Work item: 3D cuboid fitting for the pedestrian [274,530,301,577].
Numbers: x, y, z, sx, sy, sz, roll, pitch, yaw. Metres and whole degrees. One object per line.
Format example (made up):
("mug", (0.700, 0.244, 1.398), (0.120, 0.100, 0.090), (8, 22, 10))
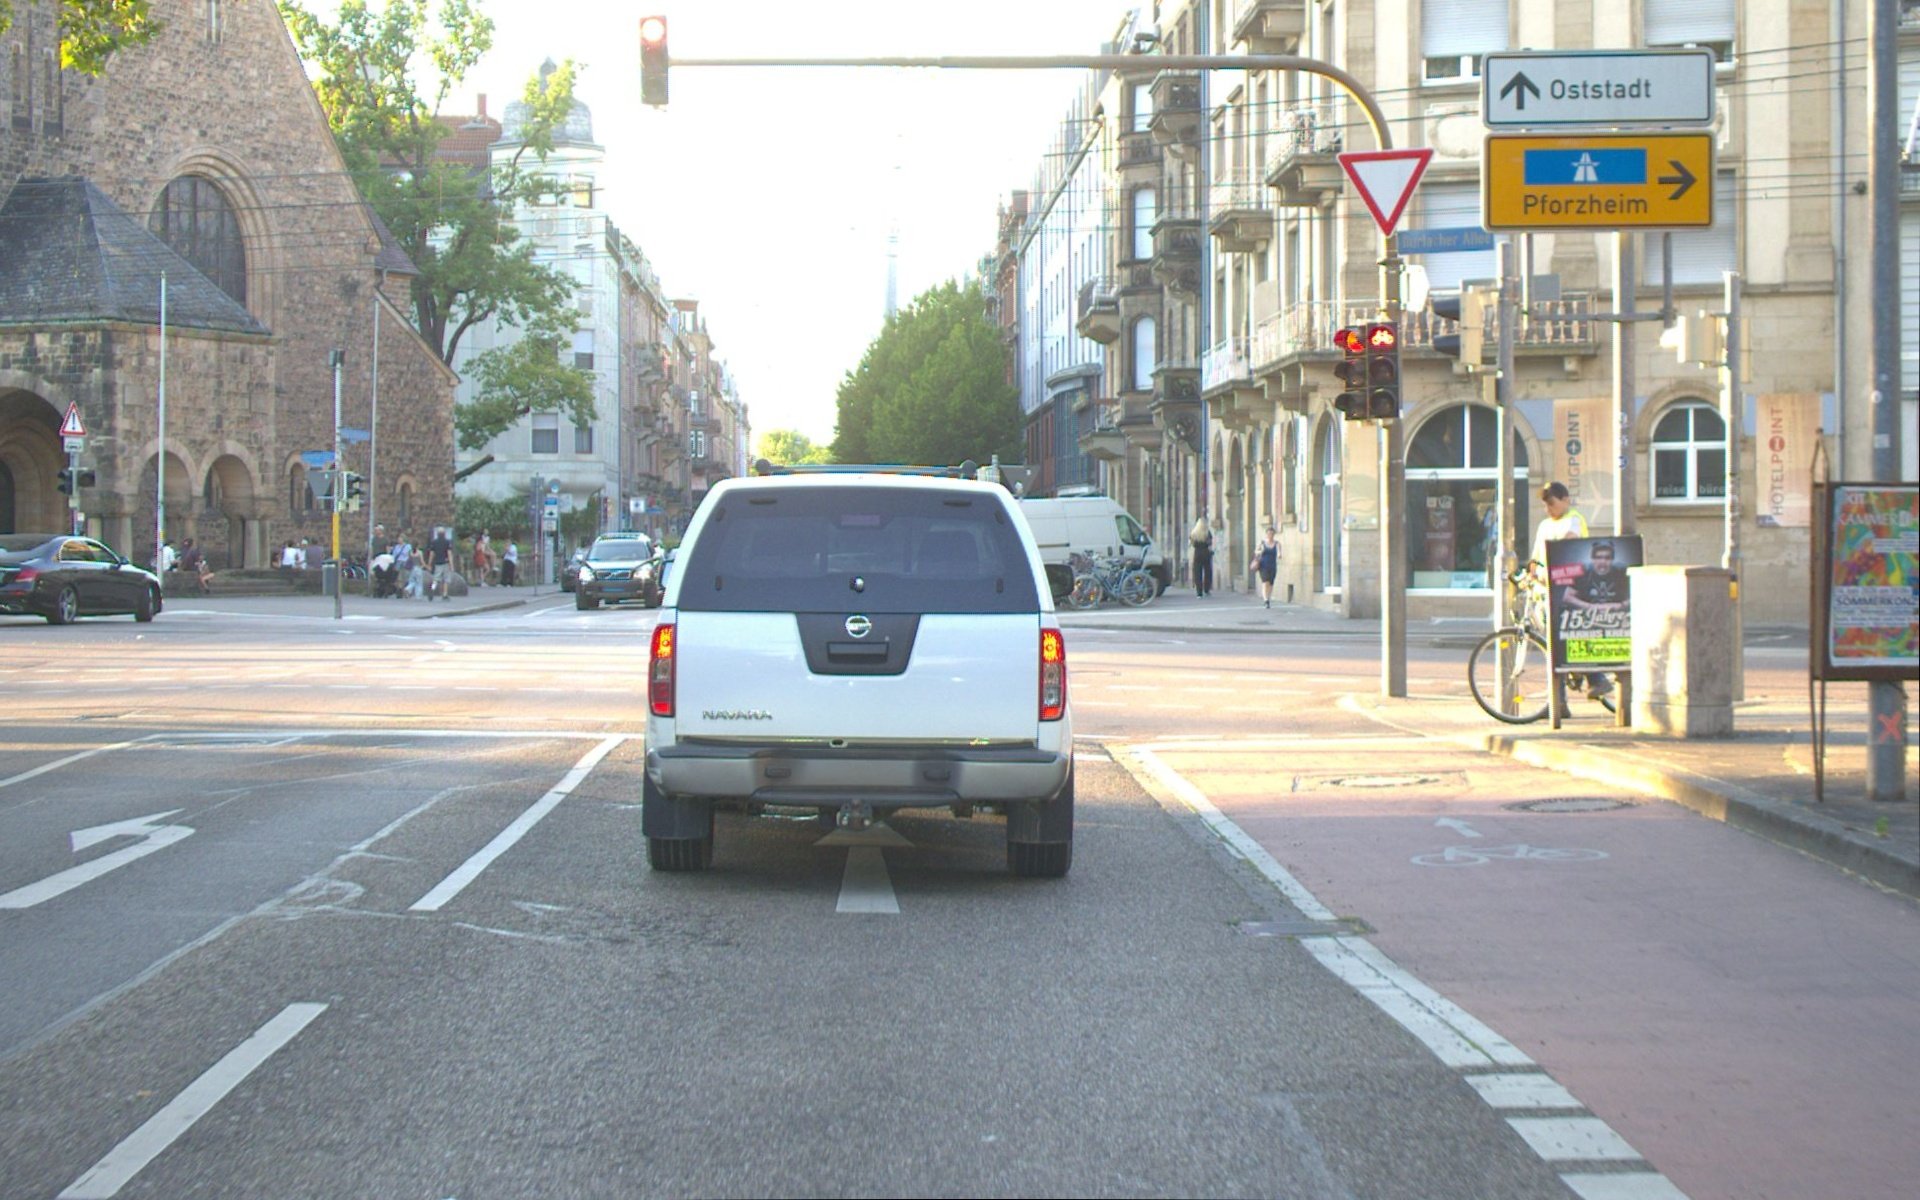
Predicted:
("pedestrian", (-17.775, -1.232, 90.865), (0.478, 1.241, 0.523), (1, 0, 17))

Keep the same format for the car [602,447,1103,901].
("car", (-0.458, 0.282, 15.909), (1.993, 1.803, 4.000), (1, 1, -1))

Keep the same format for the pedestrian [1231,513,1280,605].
("pedestrian", (5.759, -0.792, 66.899), (0.788, 1.773, 0.543), (1, 0, 25))

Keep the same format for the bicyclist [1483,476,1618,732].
("bicyclist", (4.274, 0.024, 24.899), (0.696, 1.818, 0.628), (1, 0, -33))

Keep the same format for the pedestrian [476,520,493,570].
("pedestrian", (-16.046, -1.847, 116.033), (0.560, 1.689, 0.645), (1, 0, -8))

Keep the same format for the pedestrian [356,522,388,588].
("pedestrian", (-15.358, -1.178, 89.855), (0.634, 1.692, 0.602), (1, 3, 13))

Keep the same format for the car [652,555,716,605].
("car", (-9.790, -0.733, 122.278), (1.993, 1.552, 4.769), (3, 2, -2))

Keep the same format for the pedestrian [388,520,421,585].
("pedestrian", (-14.501, -1.231, 89.716), (0.634, 1.692, 0.602), (1, 0, 18))

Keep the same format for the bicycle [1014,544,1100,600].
("bicycle", (2.023, -0.580, 72.067), (1.726, 1.080, 0.317), (-3, 1, -2))

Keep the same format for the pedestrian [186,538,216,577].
("pedestrian", (-18.813, -1.058, 85.236), (0.478, 0.957, 0.522), (1, 0, 29))

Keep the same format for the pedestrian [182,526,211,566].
("pedestrian", (-18.670, -1.319, 84.062), (0.522, 0.957, 0.479), (1, 0, 19))

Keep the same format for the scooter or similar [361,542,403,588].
("scooter or similar", (-14.926, -0.916, 88.758), (0.634, 1.099, 1.078), (1, 5, 17))

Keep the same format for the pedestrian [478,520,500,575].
("pedestrian", (-15.786, -1.752, 115.195), (0.642, 1.849, 0.562), (1, 0, -15))

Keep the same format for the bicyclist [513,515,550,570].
("bicyclist", (-12.905, -1.732, 103.473), (0.962, 1.639, 0.599), (1, 1, 41))

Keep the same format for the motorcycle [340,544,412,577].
("motorcycle", (-17.900, -1.219, 105.382), (2.167, 0.984, 0.593), (1, 0, 19))

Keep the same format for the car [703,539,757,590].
("car", (-9.316, -1.452, 139.691), (1.993, 2.007, 4.951), (-1, 1, -2))

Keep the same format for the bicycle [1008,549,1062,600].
("bicycle", (1.589, -0.551, 72.951), (1.076, 1.021, 0.317), (-3, 1, -2))

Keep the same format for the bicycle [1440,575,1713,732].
("bicycle", (4.501, 0.382, 25.036), (2.065, 1.106, 0.628), (0, 1, -33))

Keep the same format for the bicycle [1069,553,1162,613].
("bicycle", (3.242, -0.353, 71.605), (1.817, 1.146, 0.636), (-3, 1, -2))

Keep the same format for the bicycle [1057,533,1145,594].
("bicycle", (3.053, -0.791, 74.584), (1.817, 1.233, 0.410), (-3, 1, -2))

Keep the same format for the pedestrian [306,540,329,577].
("pedestrian", (-16.750, -1.071, 89.616), (0.521, 0.957, 0.479), (1, 0, -16))

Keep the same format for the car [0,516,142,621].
("car", (-14.878, -0.513, 54.980), (1.994, 1.612, 3.998), (1, 1, 11))

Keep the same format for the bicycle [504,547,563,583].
("bicycle", (-12.845, -1.061, 103.422), (1.944, 1.040, 0.599), (1, 1, 41))

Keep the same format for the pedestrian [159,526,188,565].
("pedestrian", (-19.296, -1.330, 84.337), (0.522, 0.957, 0.479), (1, 0, 19))

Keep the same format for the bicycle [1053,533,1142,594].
("bicycle", (3.003, -0.794, 75.115), (1.855, 1.233, 0.531), (-3, 1, -2))

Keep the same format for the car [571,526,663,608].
("car", (-8.298, -0.833, 83.489), (1.993, 1.778, 4.799), (0, 3, -3))

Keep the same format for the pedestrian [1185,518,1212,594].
("pedestrian", (5.255, -0.970, 75.753), (0.527, 1.648, 0.547), (1, 0, -1))

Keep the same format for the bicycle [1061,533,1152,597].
("bicycle", (3.087, -0.741, 72.542), (1.817, 1.233, 0.488), (-3, 1, -2))

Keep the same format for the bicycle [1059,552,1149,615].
("bicycle", (3.062, -0.347, 73.257), (1.817, 1.233, 0.478), (-3, 1, -2))

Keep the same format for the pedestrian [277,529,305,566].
("pedestrian", (-17.470, -1.359, 89.772), (0.522, 0.957, 0.479), (1, 0, 17))

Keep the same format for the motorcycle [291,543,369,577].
("motorcycle", (-18.898, -1.210, 103.093), (2.243, 0.984, 0.708), (1, 0, -6))

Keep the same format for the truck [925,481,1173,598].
("truck", (2.060, -1.365, 78.153), (5.658, 2.556, 2.286), (0, 1, -44))

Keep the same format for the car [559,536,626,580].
("car", (-12.065, -1.381, 112.954), (1.858, 1.393, 4.000), (1, 1, -1))

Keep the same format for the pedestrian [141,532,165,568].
("pedestrian", (-22.118, -1.369, 94.247), (0.551, 0.957, 0.710), (1, 0, -7))
